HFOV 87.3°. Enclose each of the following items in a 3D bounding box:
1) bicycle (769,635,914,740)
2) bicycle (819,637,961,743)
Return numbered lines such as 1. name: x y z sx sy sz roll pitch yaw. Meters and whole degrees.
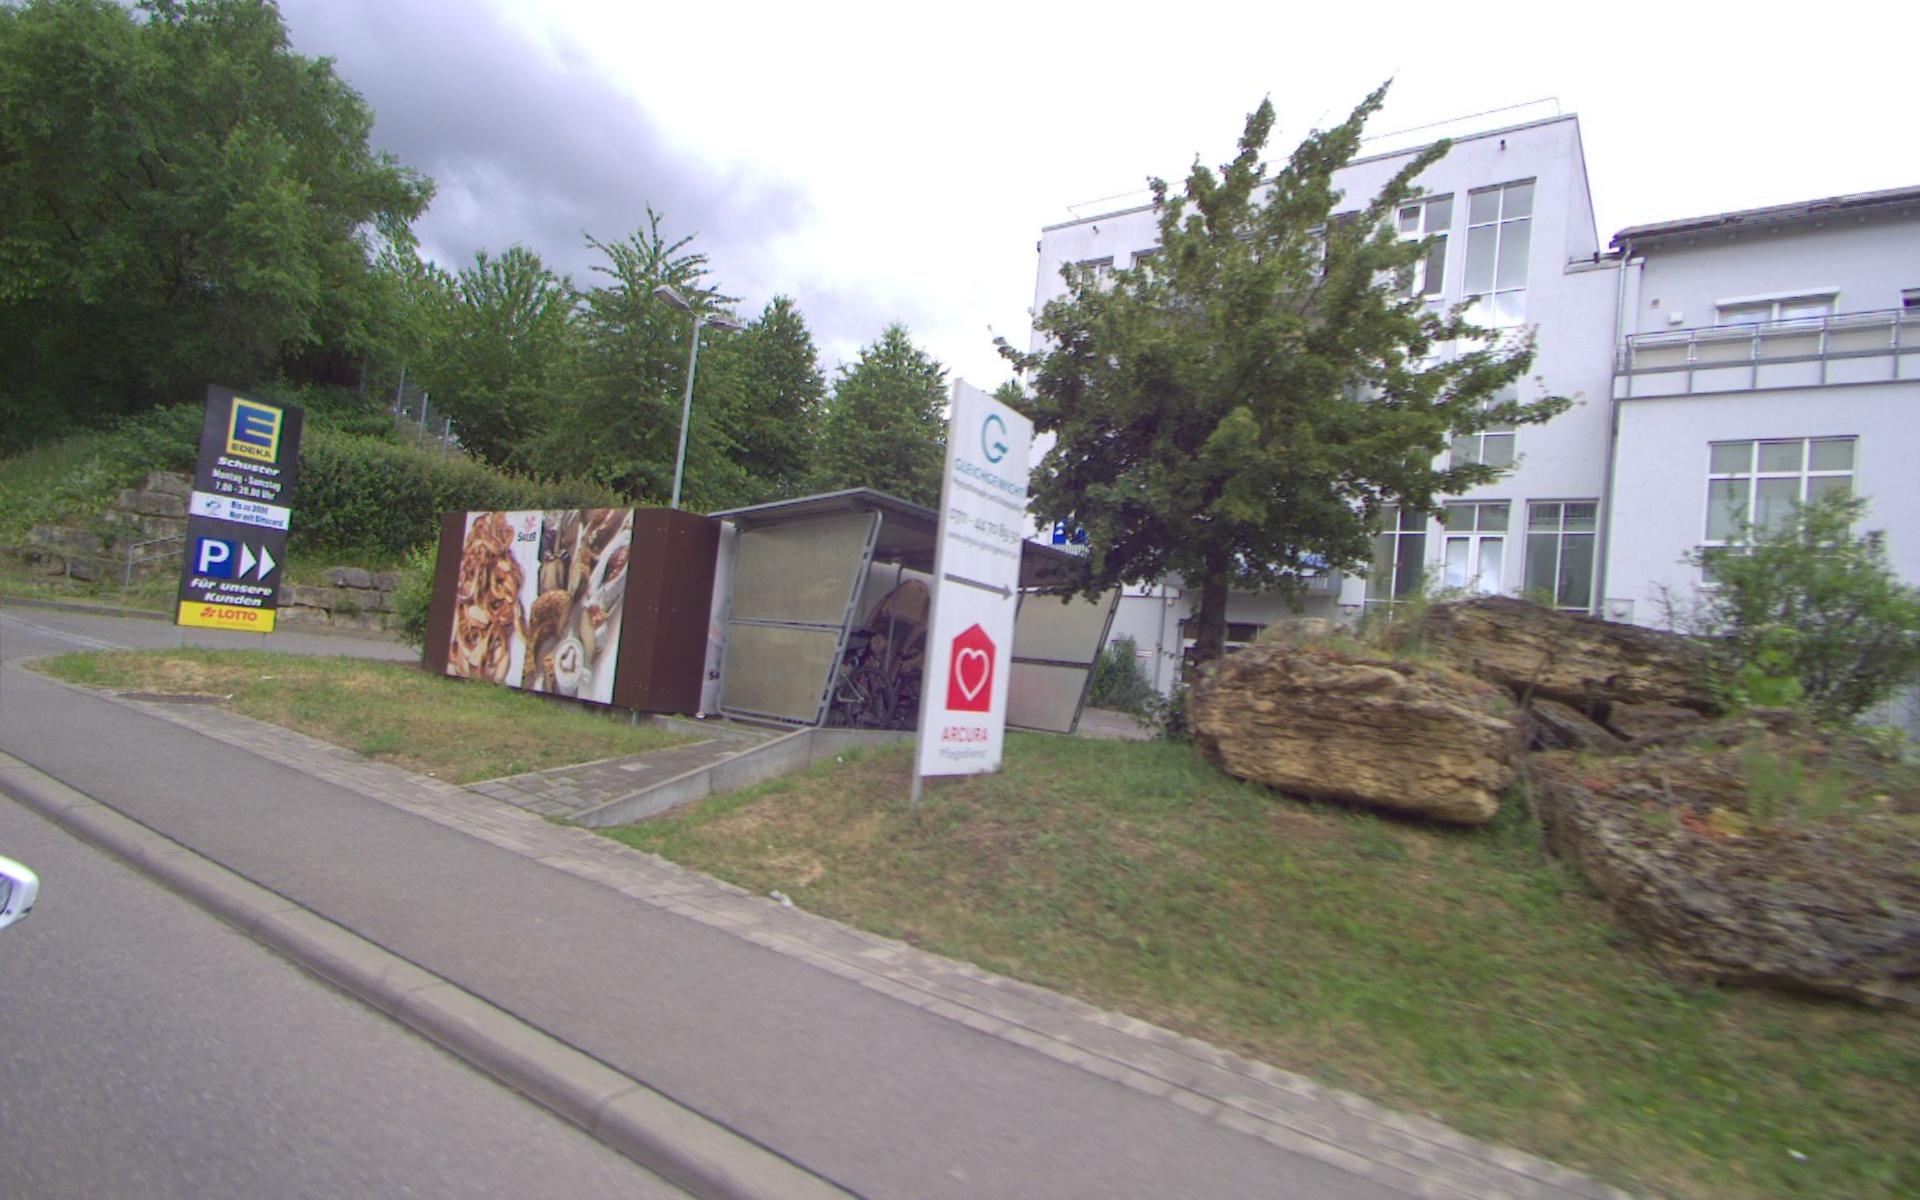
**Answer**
1. bicycle: -1.261 0.912 10.599 1.458 0.885 0.491 7 -2 35
2. bicycle: -0.808 1.001 11.365 1.529 0.963 0.491 7 -2 35
